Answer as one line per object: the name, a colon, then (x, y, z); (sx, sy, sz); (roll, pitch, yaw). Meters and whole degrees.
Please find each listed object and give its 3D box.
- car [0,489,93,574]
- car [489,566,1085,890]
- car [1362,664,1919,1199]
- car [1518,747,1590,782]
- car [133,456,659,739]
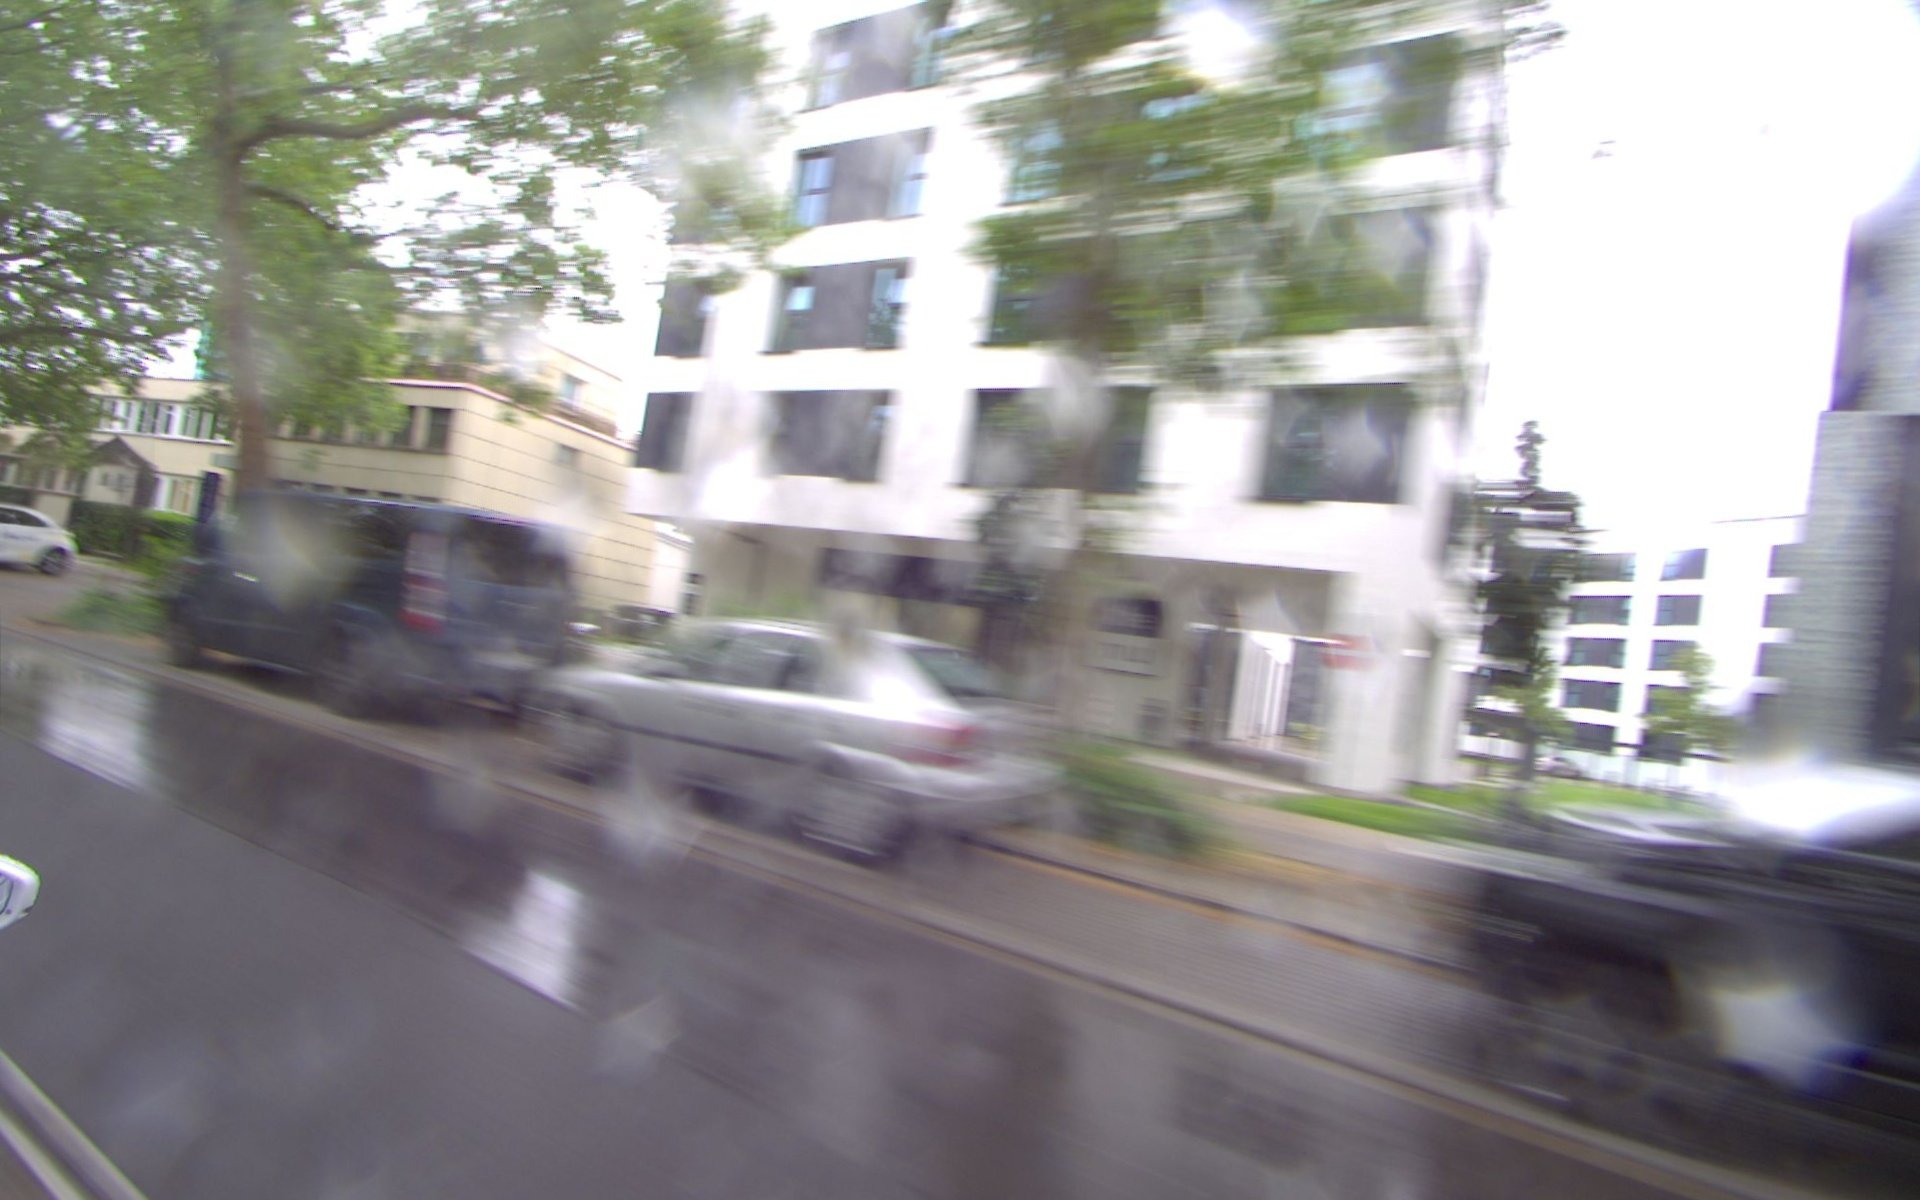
car: (-20.347, -1.592, 20.460); (1.716, 1.521, 3.652); (10, -2, 13)
car: (-1.426, 0.809, 7.684); (4.234, 1.485, 1.748); (8, -2, 32)
car: (4.045, 1.399, 3.826); (4.299, 1.584, 1.748); (8, -2, 32)
car: (38.789, 10.753, 65.735); (3.804, 1.562, 1.872); (9, -2, -16)
car: (-5.915, -0.100, 10.316); (5.435, 2.050, 2.127); (8, -2, 32)
